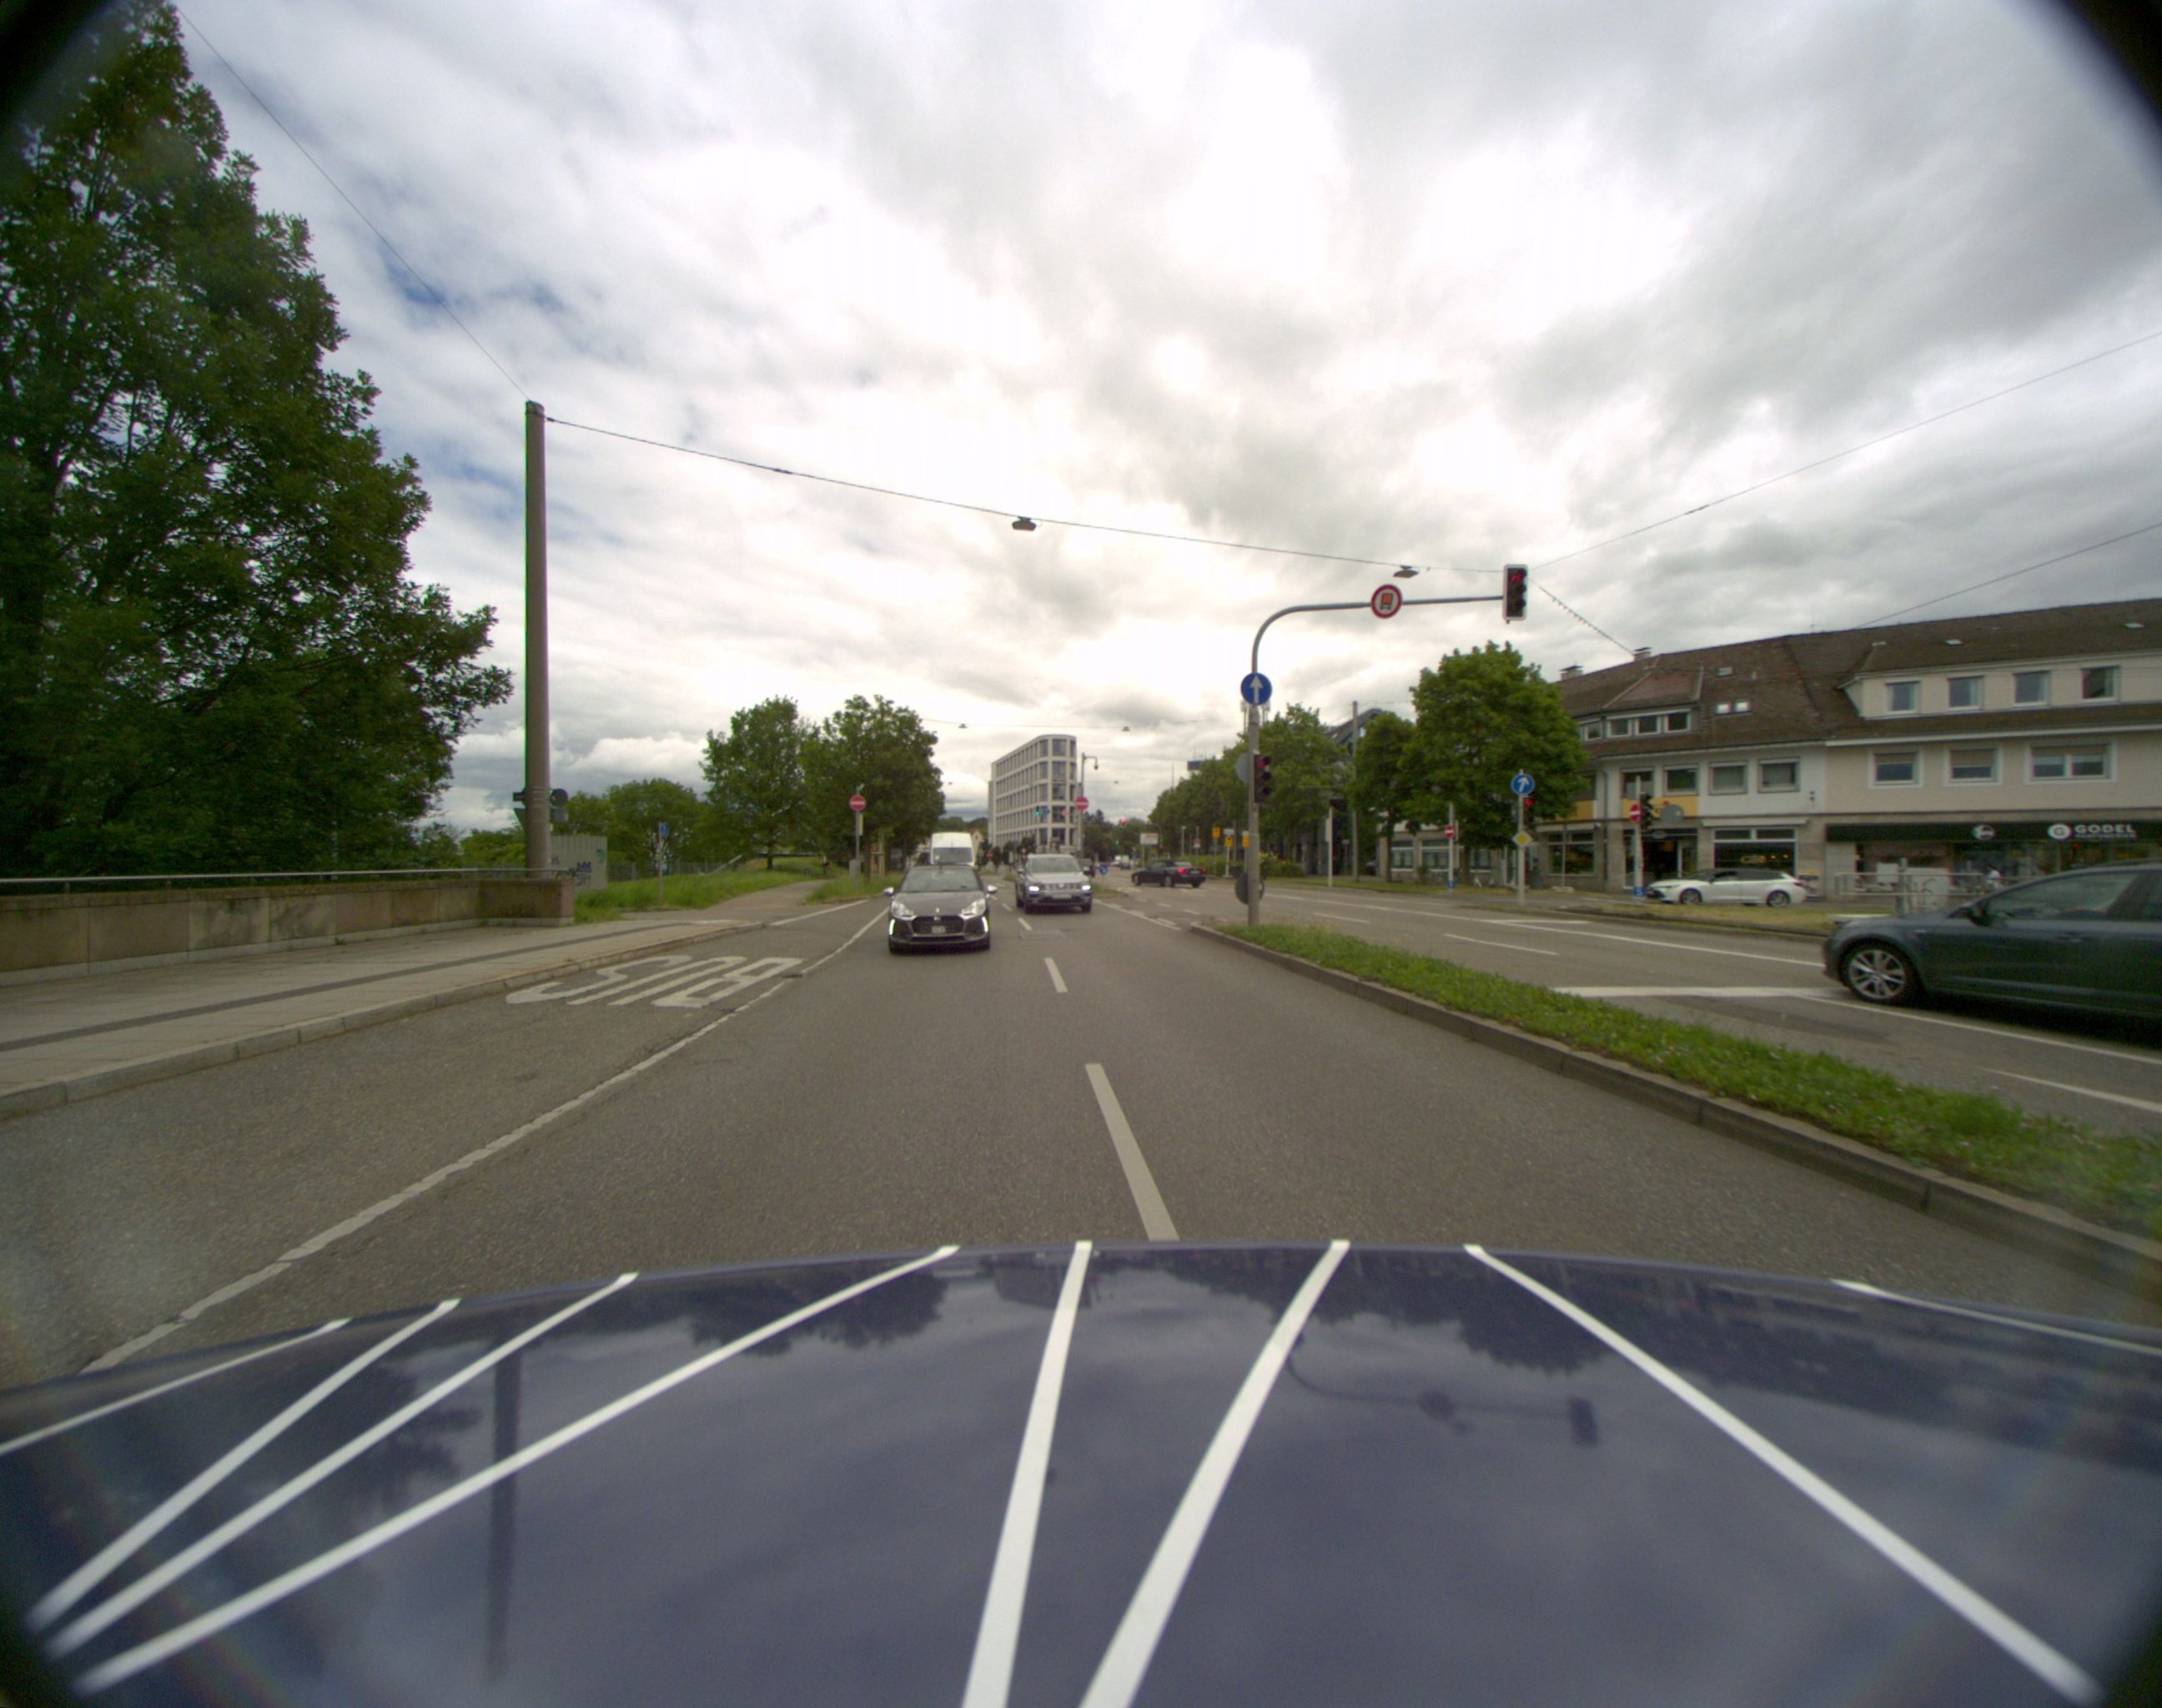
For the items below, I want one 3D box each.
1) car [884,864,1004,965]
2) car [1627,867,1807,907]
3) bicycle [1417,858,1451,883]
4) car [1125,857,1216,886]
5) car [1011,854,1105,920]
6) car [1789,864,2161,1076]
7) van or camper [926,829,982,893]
[{"bbox_3d":[-2.602,0.979,14.078,1.865,1.516,3.995,1,0,-12],"label":"car"},{"bbox_3d":[23.769,1.189,28.600,4.801,1.348,2.002,0,0,13],"label":"car"},{"bbox_3d":[17.999,0.845,38.755,1.686,1.246,0.625,0,2,-26],"label":"bicycle"},{"bbox_3d":[4.507,0.854,38.936,2.004,1.348,4.798,0,0,-33],"label":"car"},{"bbox_3d":[-0.783,0.862,22.198,2.000,1.640,4.389,-2,1,-11],"label":"car"},{"bbox_3d":[8.871,0.883,5.980,2.000,1.503,4.642,1,0,-6],"label":"car"},{"bbox_3d":[-5.914,0.281,35.197,2.282,2.690,6.988,1,0,-10],"label":"van or camper"}]
